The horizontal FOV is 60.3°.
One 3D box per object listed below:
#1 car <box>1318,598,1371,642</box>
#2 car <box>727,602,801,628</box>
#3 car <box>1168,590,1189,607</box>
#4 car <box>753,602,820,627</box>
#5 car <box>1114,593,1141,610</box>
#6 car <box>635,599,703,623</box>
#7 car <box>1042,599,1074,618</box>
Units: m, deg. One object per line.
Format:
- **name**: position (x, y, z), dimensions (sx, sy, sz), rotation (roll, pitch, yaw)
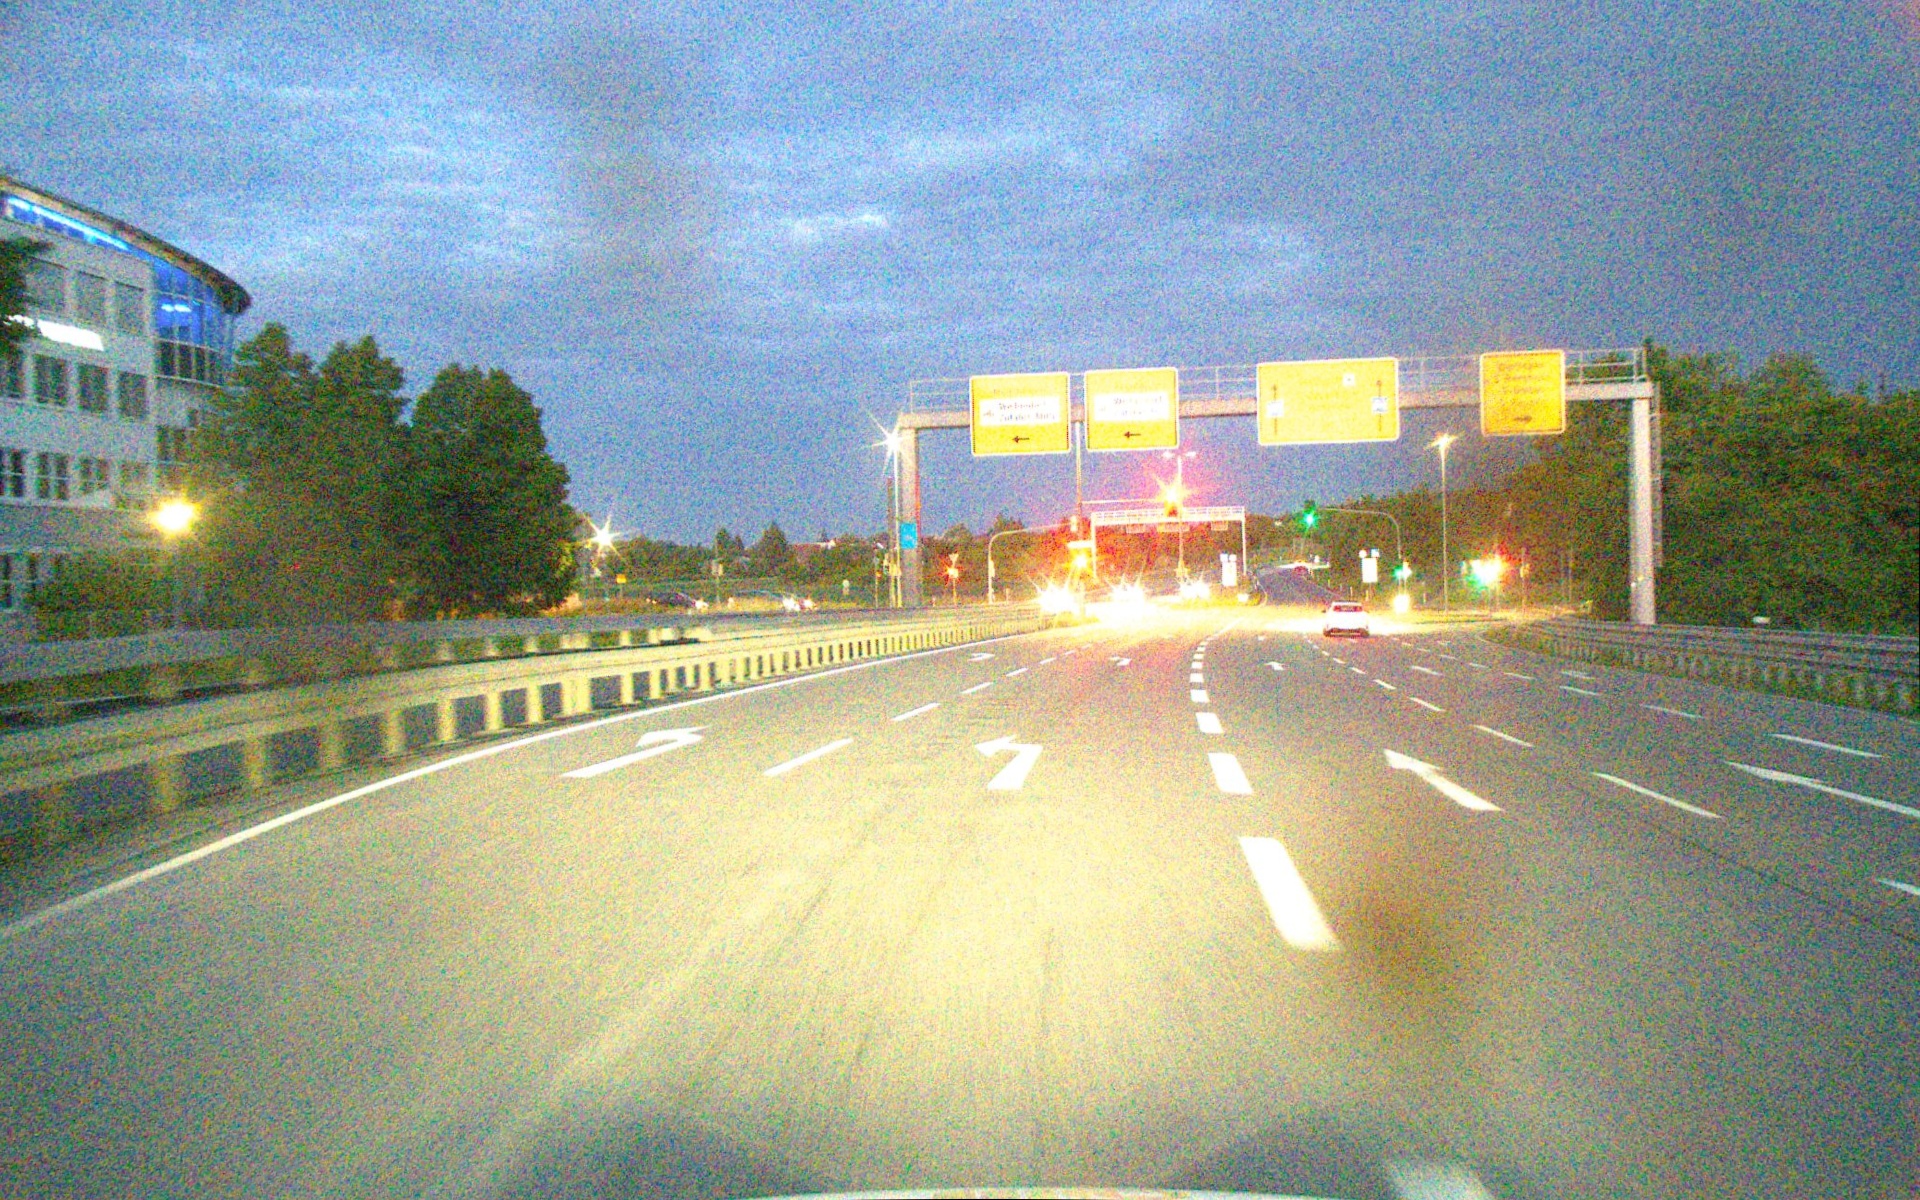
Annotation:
- **car**: position (15.995, 0.807, 68.680), dimensions (1.965, 1.638, 3.848), rotation (4, 1, 14)
- **car**: position (-12.187, 0.951, 102.960), dimensions (4.221, 1.564, 1.731), rotation (0, 0, 11)
- **car**: position (22.405, -0.174, 169.561), dimensions (1.951, 1.728, 4.004), rotation (0, 0, 11)
- **car**: position (-11.160, 0.914, 106.583), dimensions (3.954, 1.564, 1.731), rotation (0, 0, 9)
- **car**: position (15.023, 0.140, 148.212), dimensions (1.951, 1.508, 4.686), rotation (0, 0, 11)
- **car**: position (-18.429, 0.706, 104.824), dimensions (3.902, 1.499, 1.731), rotation (0, 0, 6)
- **car**: position (7.791, 0.654, 131.463), dimensions (1.951, 1.450, 4.536), rotation (0, 0, 11)
